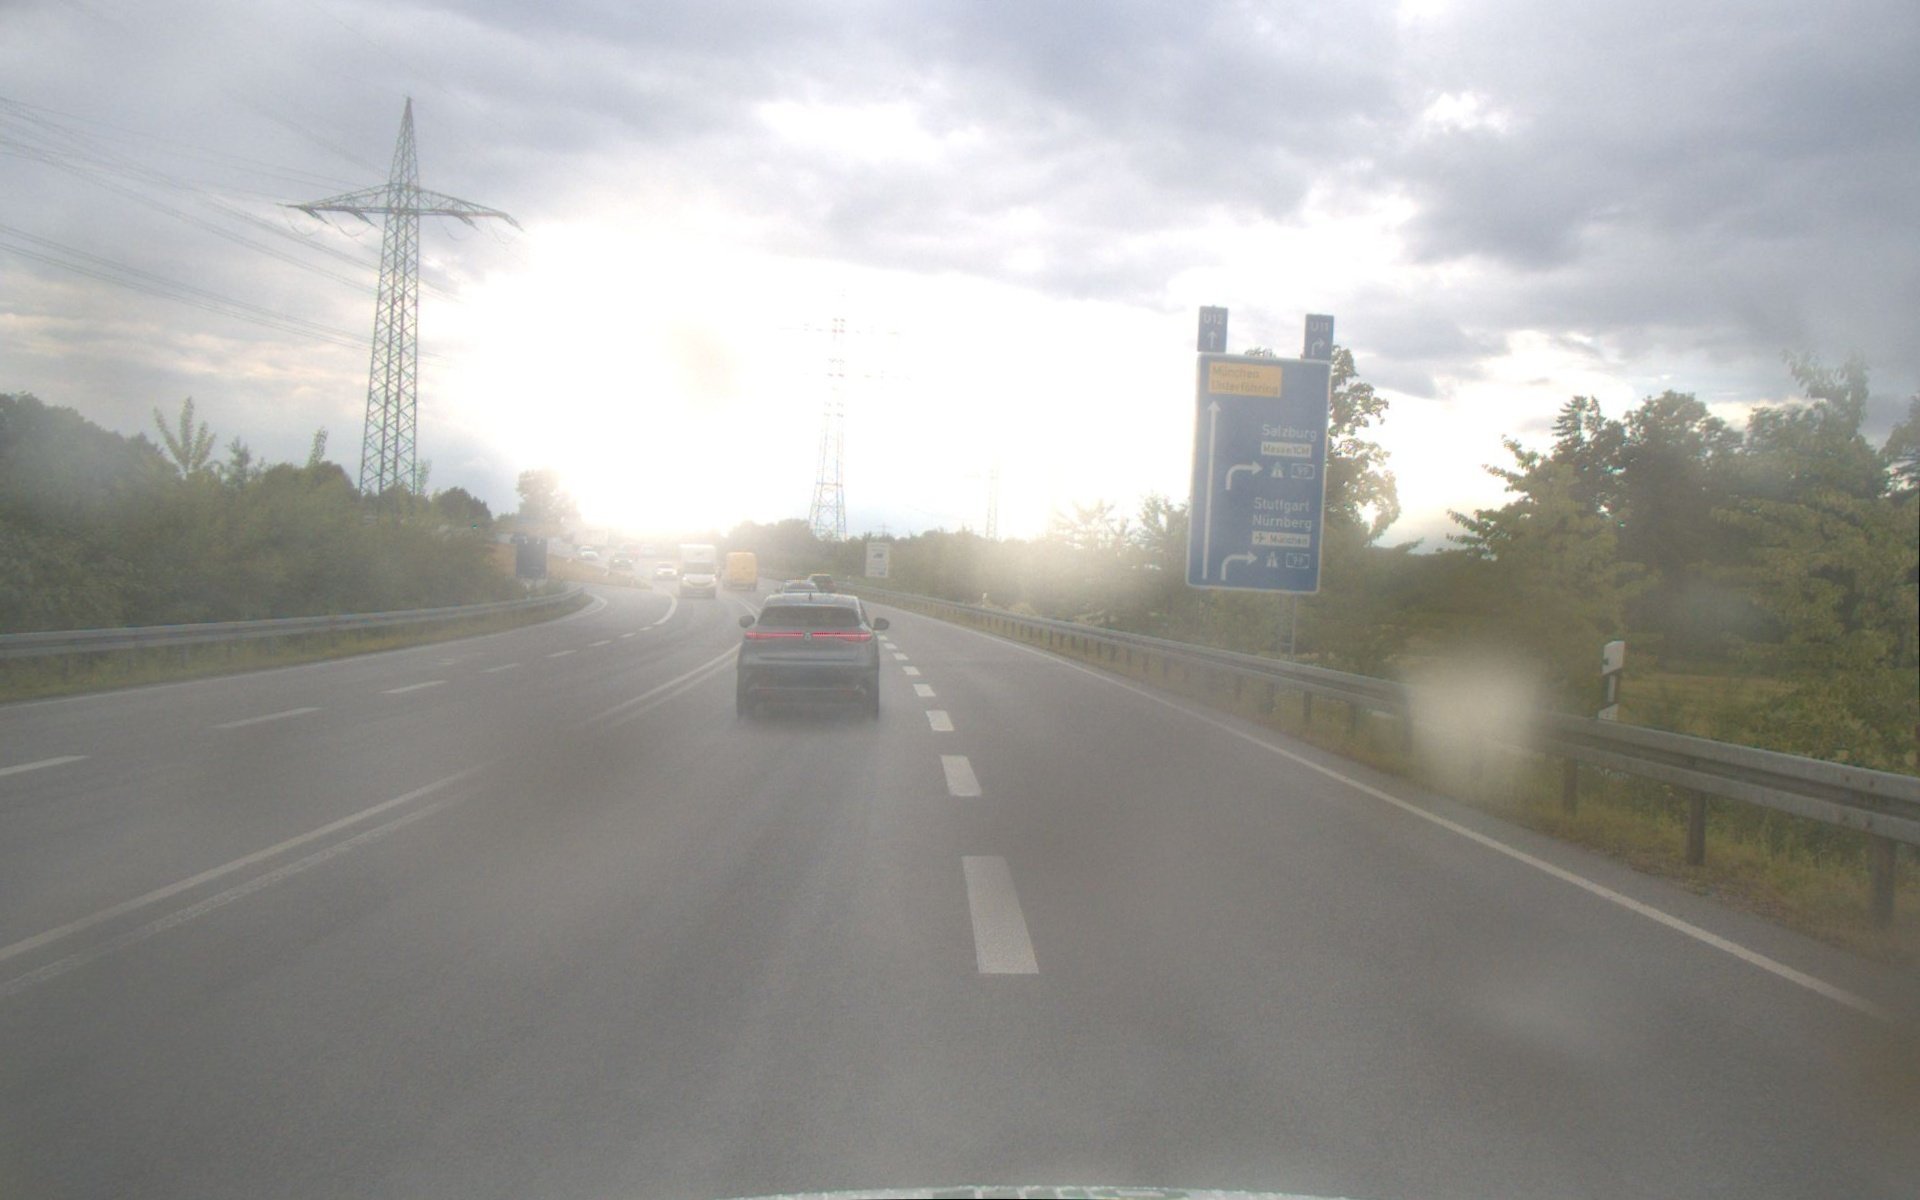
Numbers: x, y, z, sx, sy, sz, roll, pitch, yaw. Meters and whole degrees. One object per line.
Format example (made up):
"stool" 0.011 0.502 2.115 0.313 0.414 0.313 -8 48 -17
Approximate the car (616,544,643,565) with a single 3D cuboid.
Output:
"car" -37.575 -5.126 187.991 2.560 2.289 5.510 2 1 -16

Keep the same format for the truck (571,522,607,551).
"truck" -46.804 -7.955 208.731 3.005 3.443 7.589 1 1 -24

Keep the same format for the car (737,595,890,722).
"car" -1.854 0.695 21.340 1.756 1.466 3.996 1 0 -4

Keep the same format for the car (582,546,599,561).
"car" -41.468 -5.202 185.466 1.769 1.602 4.244 1 0 -14

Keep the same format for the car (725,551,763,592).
"car" -15.400 -2.012 117.438 2.525 2.773 7.182 1 0 -9

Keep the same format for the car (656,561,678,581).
"car" -24.123 -2.374 136.347 1.759 1.466 3.991 1 -1 -10

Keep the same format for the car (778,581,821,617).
"car" -6.902 -0.044 71.126 1.757 1.466 3.995 1 0 -6

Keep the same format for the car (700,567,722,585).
"car" -21.231 -2.038 140.952 1.758 1.466 3.994 -1 1 -7

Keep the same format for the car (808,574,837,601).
"car" -8.465 -0.755 101.601 1.756 1.568 3.996 0 0 -5

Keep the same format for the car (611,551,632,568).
"car" -32.936 -3.912 160.889 1.769 1.602 4.244 0 0 -14

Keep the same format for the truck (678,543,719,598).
"truck" -15.690 -1.740 99.514 2.213 3.211 6.679 0 0 -7
